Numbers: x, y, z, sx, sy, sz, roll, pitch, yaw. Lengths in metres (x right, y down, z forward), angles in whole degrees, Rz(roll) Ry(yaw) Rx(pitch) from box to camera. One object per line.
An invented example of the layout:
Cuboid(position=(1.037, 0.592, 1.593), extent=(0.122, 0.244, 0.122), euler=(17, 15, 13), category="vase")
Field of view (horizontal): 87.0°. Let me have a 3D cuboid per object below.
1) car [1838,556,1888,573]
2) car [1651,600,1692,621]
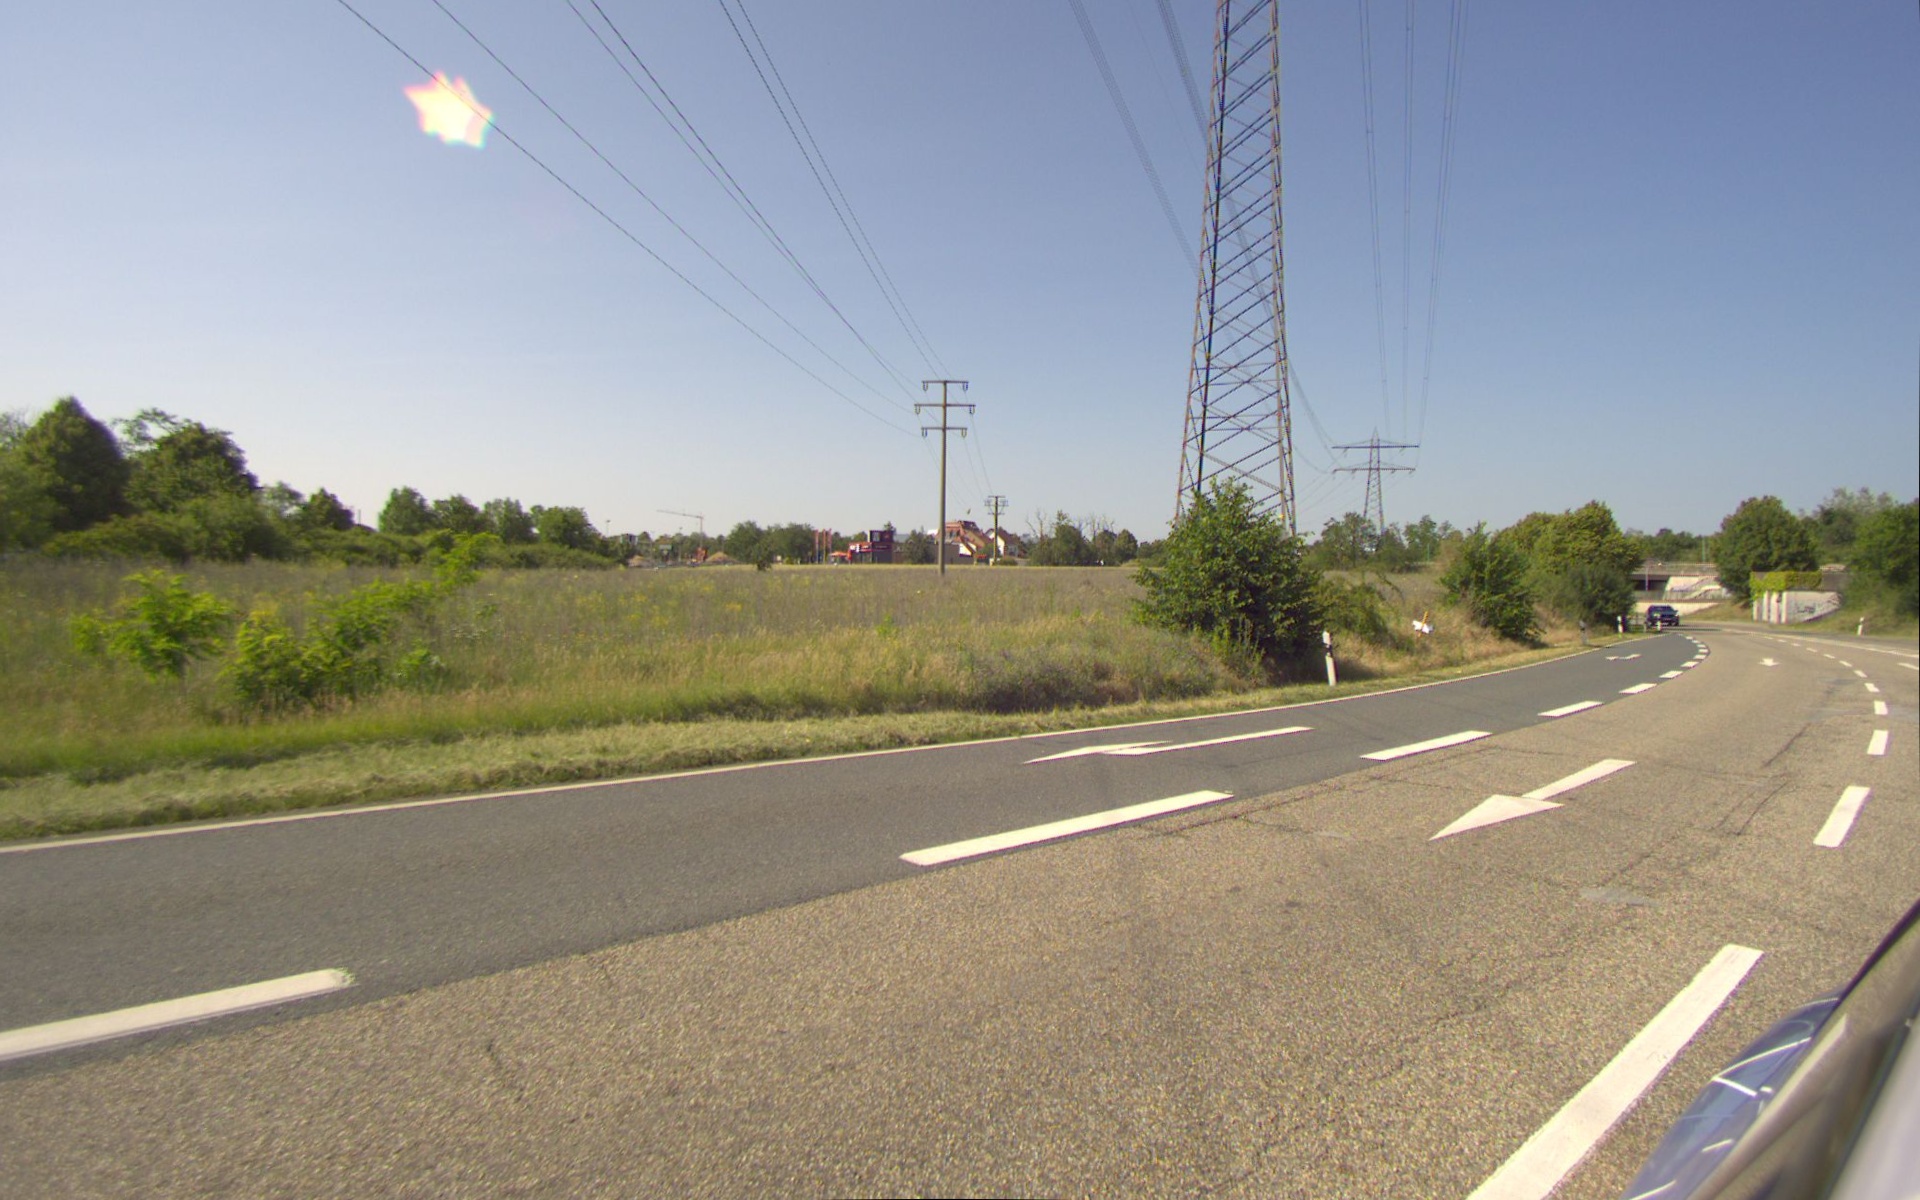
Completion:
Cuboid(position=(112.848, -4.420, 126.507), extent=(1.710, 1.925, 4.344), euler=(0, 0, -27), category="car")
Cuboid(position=(57.071, 0.838, 81.216), extent=(1.839, 1.639, 3.621), euler=(1, 0, 22), category="car")
